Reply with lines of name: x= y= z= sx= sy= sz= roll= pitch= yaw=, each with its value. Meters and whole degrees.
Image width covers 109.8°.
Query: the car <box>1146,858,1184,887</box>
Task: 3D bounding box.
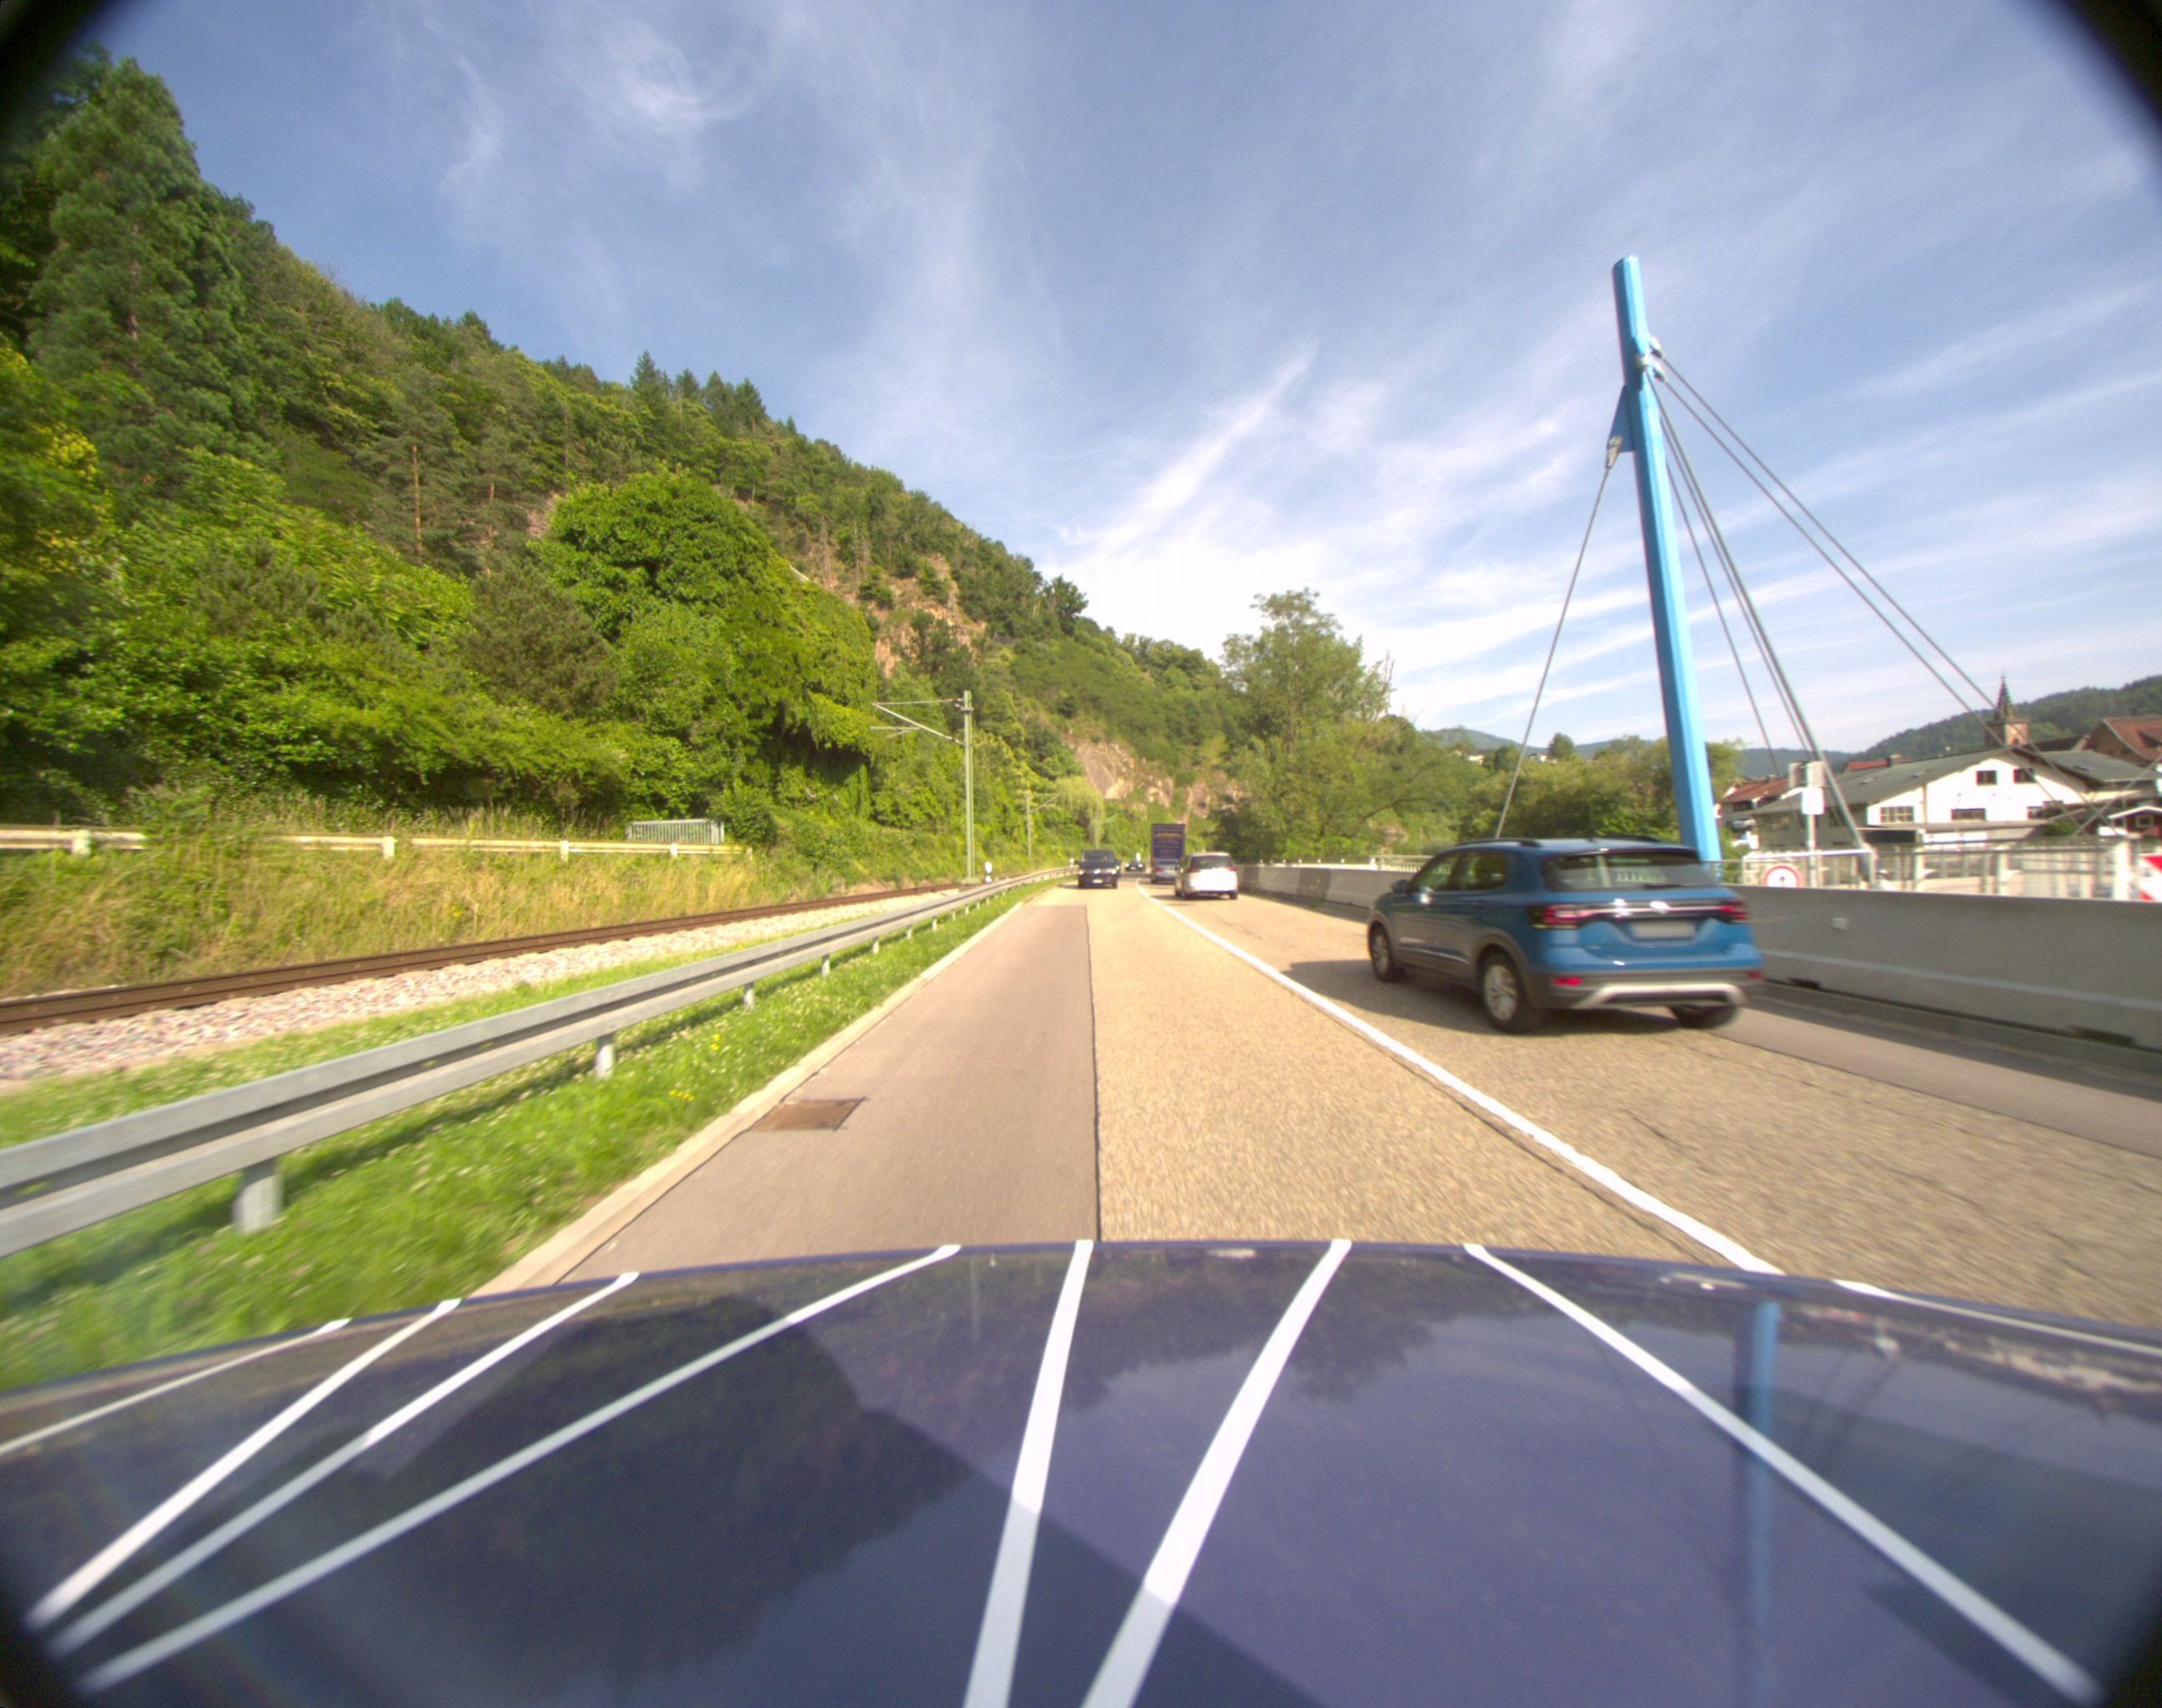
car: x=4.813 y=1.047 z=43.929 sx=1.841 sy=1.487 sz=4.936 roll=-1 pitch=0 yaw=3

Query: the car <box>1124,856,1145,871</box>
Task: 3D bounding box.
car: x=5.695 y=1.025 z=80.379 sx=1.997 sy=1.486 sz=4.223 roll=1 pitch=0 yaw=7

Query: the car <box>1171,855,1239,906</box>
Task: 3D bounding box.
car: x=4.333 y=0.868 z=27.230 sx=1.777 sy=1.660 sz=4.647 roll=0 pitch=0 yaw=1

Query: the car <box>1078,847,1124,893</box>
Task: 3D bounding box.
car: x=0.987 y=0.754 z=35.461 sx=1.998 sy=2.001 sz=4.002 roll=0 pitch=-2 yaw=3

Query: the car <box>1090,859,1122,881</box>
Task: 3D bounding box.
car: x=1.920 y=1.189 z=57.259 sx=1.997 sy=1.486 sz=4.222 roll=1 pitch=0 yaw=6

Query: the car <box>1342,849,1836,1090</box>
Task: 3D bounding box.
car: x=4.135 y=0.776 z=7.238 sx=1.803 sy=1.547 sz=4.331 roll=-2 pitch=0 yaw=1

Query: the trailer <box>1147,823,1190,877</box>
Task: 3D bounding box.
trailer: x=7.171 y=-0.309 z=63.920 sx=2.863 sy=3.989 sz=13.674 roll=0 pitch=0 yaw=4
